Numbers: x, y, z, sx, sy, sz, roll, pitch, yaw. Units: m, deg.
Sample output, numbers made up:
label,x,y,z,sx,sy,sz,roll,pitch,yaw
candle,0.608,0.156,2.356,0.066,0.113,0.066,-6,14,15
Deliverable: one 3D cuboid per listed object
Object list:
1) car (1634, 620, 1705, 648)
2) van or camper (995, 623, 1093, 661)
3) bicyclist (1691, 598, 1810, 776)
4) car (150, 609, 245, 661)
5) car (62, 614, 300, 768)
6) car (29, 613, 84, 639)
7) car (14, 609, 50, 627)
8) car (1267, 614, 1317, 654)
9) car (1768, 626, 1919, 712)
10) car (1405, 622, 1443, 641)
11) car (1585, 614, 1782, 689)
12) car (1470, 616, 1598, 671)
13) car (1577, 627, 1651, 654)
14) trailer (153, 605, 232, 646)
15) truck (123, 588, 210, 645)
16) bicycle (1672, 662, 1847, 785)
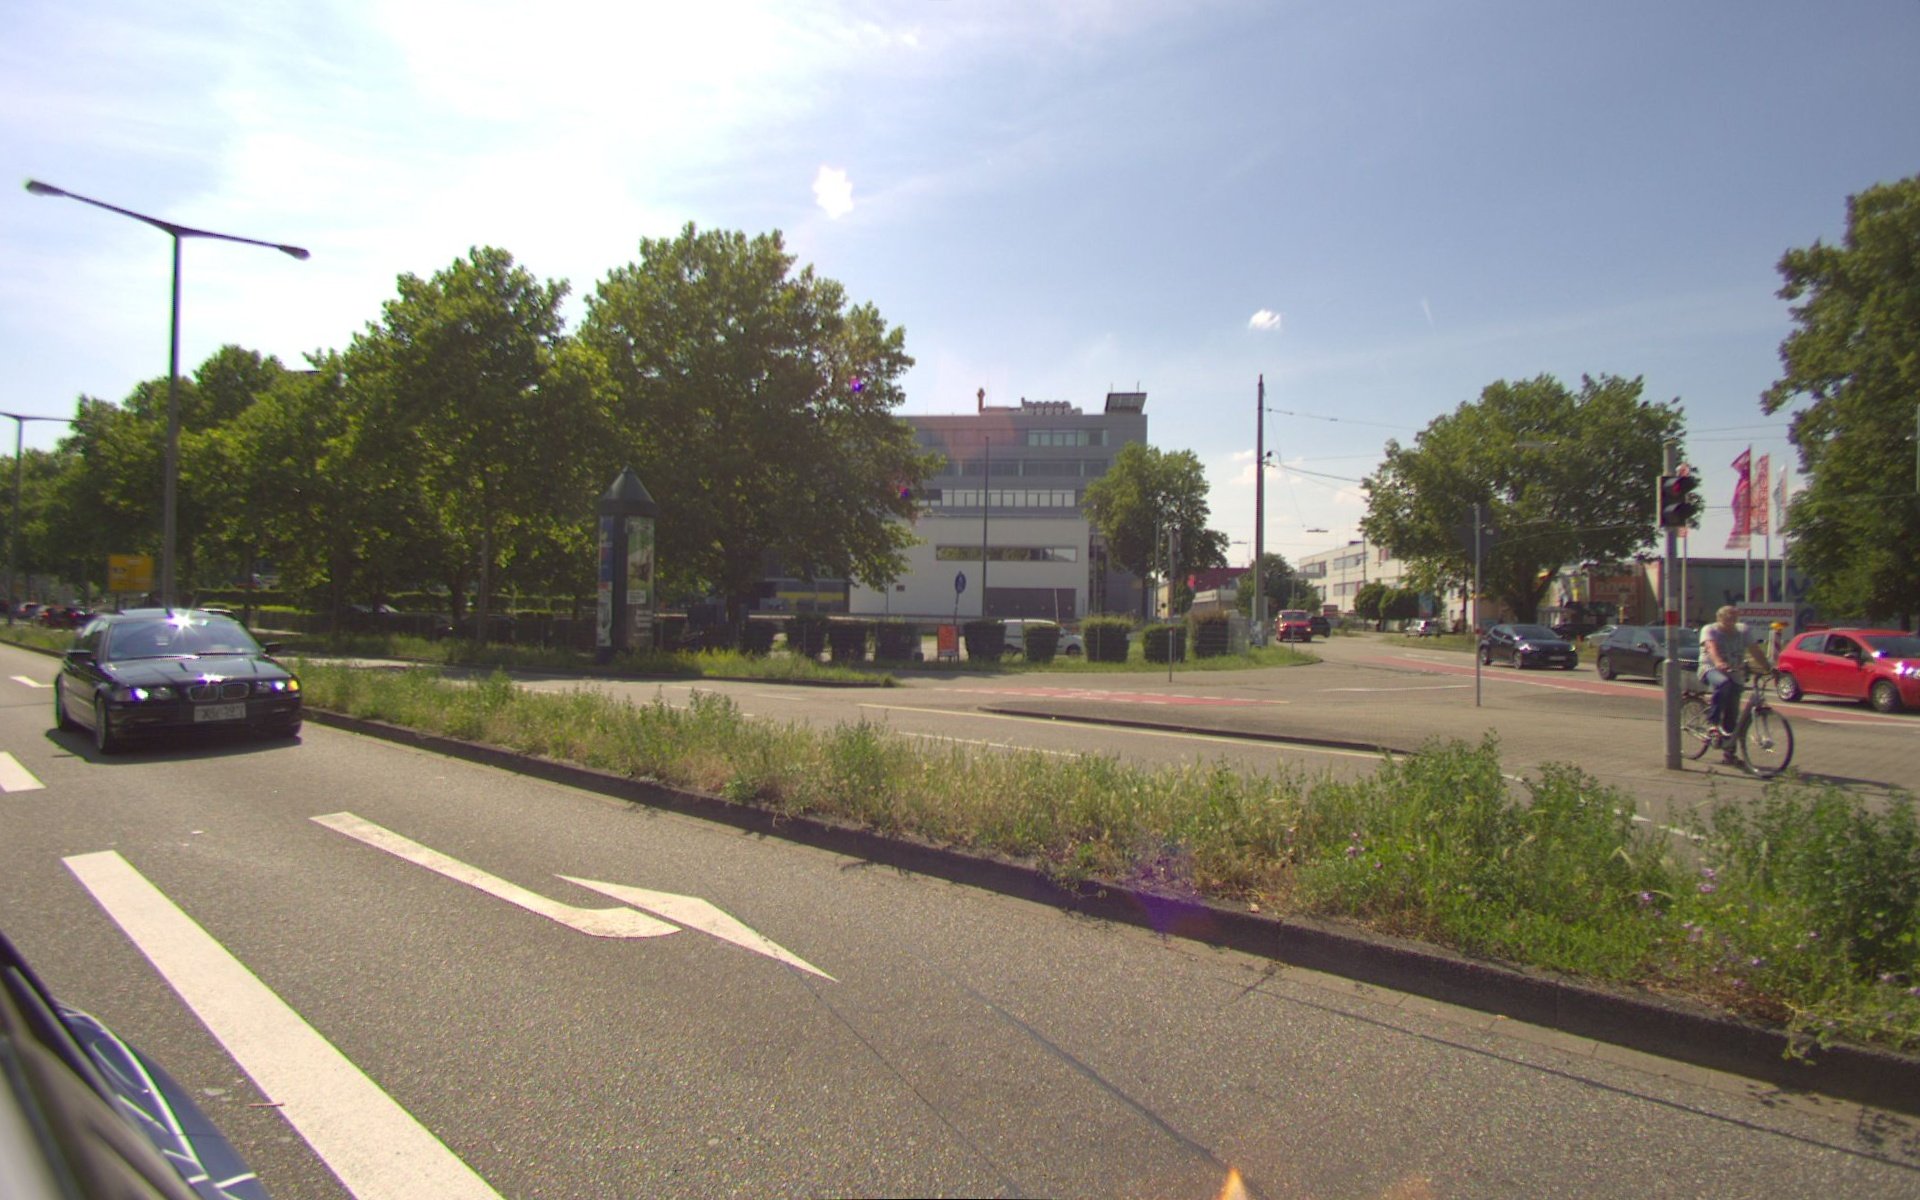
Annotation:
label,x,y,z,sx,sy,sz,roll,pitch,yaw
car,52.758,2.483,75.363,3.974,2.029,1.985,0,-1,23
van or camper,3.889,1.947,47.379,4.454,1.705,1.998,0,-1,4
bicyclist,8.336,0.887,10.706,0.698,1.802,0.765,0,-1,12
car,-23.806,1.049,31.572,3.734,1.525,1.632,-1,-2,41
car,-8.871,0.867,11.390,1.706,1.372,4.071,0,0,-44
car,-51.844,1.454,58.048,3.764,1.445,1.829,-1,-2,40
car,-81.256,1.576,88.587,4.219,1.433,1.820,-1,-4,41
car,20.178,2.057,61.654,2.128,2.295,5.026,0,-1,9
car,17.357,1.216,18.727,1.824,1.460,3.994,0,-1,5
car,38.116,2.579,83.162,1.679,1.438,3.852,0,-1,6
car,17.993,1.241,25.432,1.971,1.712,4.001,1,-1,-2
car,19.092,1.414,33.902,1.972,1.712,4.000,1,-1,0
car,35.975,2.206,55.820,1.620,1.422,4.453,0,-1,7
trailer,-33.624,1.105,44.330,3.990,1.729,2.040,-1,-1,42
truck,-37.778,0.776,48.109,7.128,2.494,2.116,-1,-2,43
bicycle,8.335,1.234,10.671,0.520,1.072,2.157,0,-1,12
